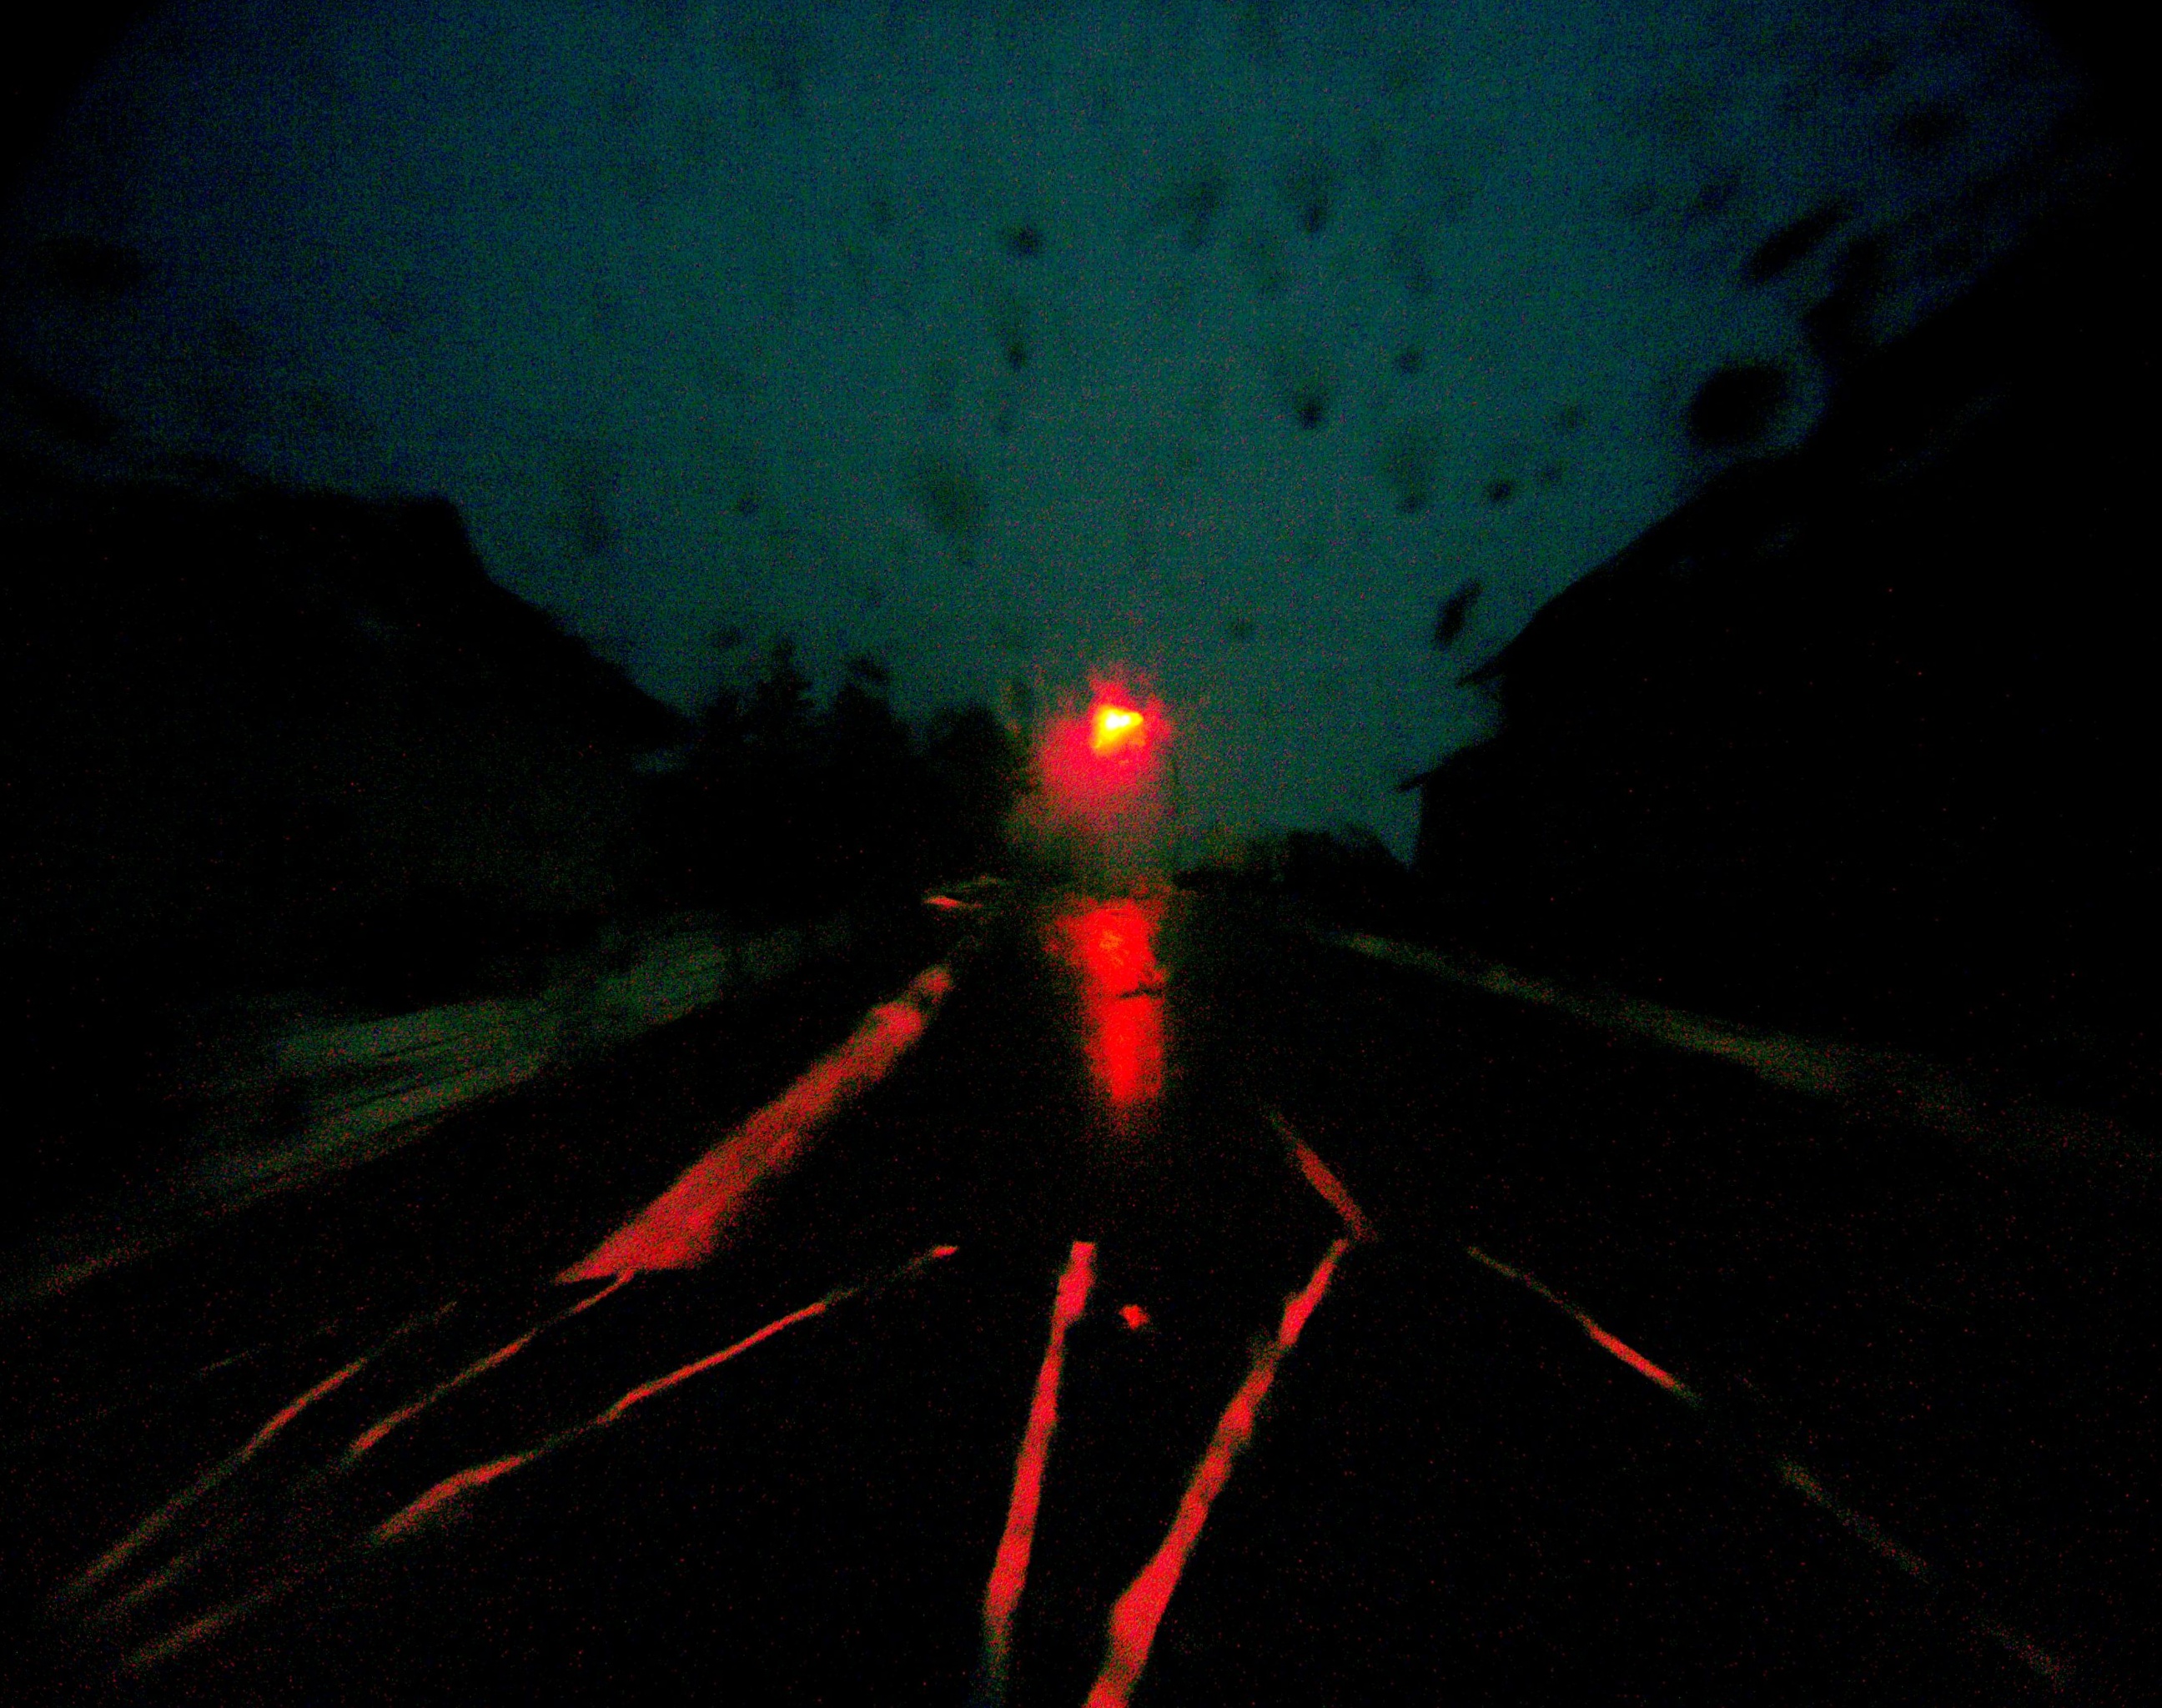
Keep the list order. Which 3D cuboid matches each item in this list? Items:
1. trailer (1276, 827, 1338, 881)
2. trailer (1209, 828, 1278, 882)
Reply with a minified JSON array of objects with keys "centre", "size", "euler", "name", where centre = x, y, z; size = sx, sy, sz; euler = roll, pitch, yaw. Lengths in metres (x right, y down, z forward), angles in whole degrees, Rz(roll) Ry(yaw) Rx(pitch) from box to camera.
[{"centre":[10.922,0.056,36.984],"size":[1.998,2.474,4.012],"euler":[2,-1,4],"name":"trailer"},{"centre":[8.185,0.092,38.472],"size":[1.697,2.589,3.438],"euler":[2,-1,-23],"name":"trailer"}]
